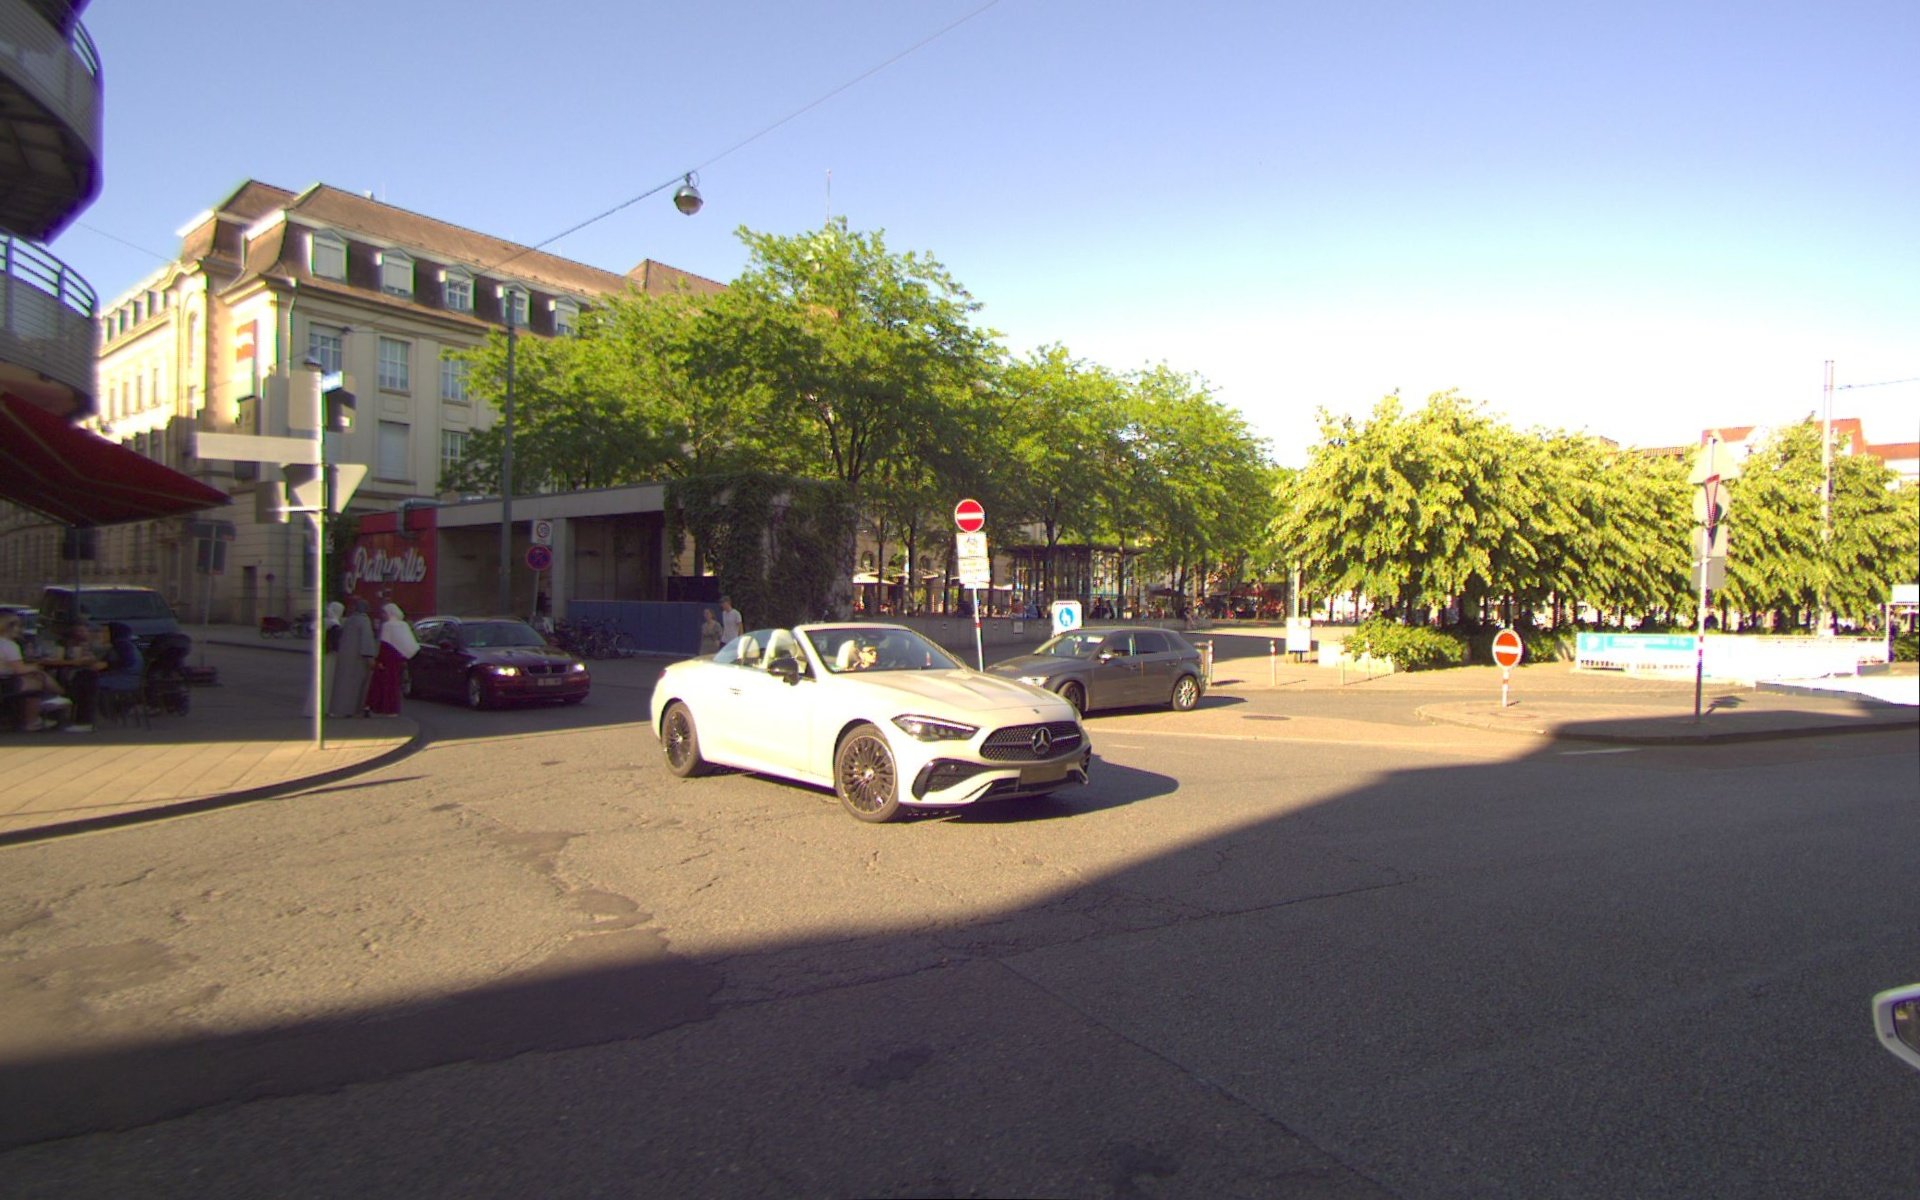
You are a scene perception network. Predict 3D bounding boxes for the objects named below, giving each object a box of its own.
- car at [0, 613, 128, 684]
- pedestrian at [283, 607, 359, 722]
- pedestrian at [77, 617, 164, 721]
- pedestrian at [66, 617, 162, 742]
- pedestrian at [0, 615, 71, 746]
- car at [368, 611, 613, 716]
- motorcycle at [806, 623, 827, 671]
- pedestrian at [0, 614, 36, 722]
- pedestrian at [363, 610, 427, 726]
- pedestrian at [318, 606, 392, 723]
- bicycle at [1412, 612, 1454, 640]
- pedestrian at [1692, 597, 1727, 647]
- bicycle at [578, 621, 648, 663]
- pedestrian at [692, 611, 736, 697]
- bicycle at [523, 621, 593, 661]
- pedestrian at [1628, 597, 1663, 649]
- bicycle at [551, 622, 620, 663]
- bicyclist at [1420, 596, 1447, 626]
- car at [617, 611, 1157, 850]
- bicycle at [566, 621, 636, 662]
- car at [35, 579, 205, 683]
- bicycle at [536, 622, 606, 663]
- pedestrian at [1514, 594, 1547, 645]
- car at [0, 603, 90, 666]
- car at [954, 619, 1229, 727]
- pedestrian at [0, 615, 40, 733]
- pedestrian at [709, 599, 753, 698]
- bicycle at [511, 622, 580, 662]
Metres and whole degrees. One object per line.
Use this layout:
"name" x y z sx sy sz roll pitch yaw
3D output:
"car" -23.156 1.223 25.822 4.117 1.682 1.903 -2 -2 38
"pedestrian" -8.971 0.884 14.120 0.563 1.556 0.700 0 0 21
"pedestrian" -11.347 0.914 13.594 0.563 1.357 0.700 0 0 9
"pedestrian" -9.605 0.878 11.416 0.565 1.357 0.698 0 -1 33
"pedestrian" -10.099 0.838 10.783 0.565 1.357 0.698 0 -1 33
"car" -8.019 1.011 16.973 4.663 1.535 1.913 -2 -2 39
"motorcycle" -3.791 1.214 26.616 0.496 1.224 1.693 0 -1 -7
"pedestrian" -12.273 0.856 12.732 0.565 1.357 0.698 0 -1 33
"pedestrian" -7.768 0.912 13.824 0.532 1.556 0.553 0 0 21
"pedestrian" -8.349 0.871 13.875 0.531 1.556 0.687 0 0 21
"bicycle" 27.146 1.480 57.628 2.660 1.523 0.958 1 0 -34
"pedestrian" 32.192 0.938 43.142 0.949 2.136 0.734 1 0 -6
"bicycle" -9.750 1.171 28.288 0.497 1.146 1.960 0 -1 33
"pedestrian" -4.802 1.043 19.607 0.605 1.634 0.582 0 -1 29
"bicycle" -11.808 1.193 29.563 0.497 1.146 1.960 0 -1 33
"pedestrian" 28.634 0.947 41.969 0.949 2.136 0.734 1 0 -6
"bicycle" -10.764 1.203 28.944 0.497 1.146 1.960 0 -1 33
"bicyclist" 27.160 0.633 57.618 1.198 1.723 0.958 1 0 -33
"car" -0.952 0.873 8.638 1.985 1.441 5.055 1 -2 -42
"bicycle" -10.200 1.163 28.607 0.497 1.146 1.960 0 -1 33
"car" -18.551 0.687 22.123 4.284 2.076 2.027 -1 -2 38
"bicycle" -11.303 1.210 29.238 0.497 1.146 1.960 0 -1 33
"pedestrian" 24.464 0.840 43.059 0.949 2.136 0.734 1 0 -6
"car" -26.736 0.984 28.849 4.117 1.682 1.903 -2 -2 38
"car" 2.232 1.092 16.515 4.491 1.442 1.737 -1 0 -34
"pedestrian" -11.290 0.854 11.717 0.565 1.357 0.698 0 -1 33
"pedestrian" -4.336 0.907 19.055 0.577 1.852 0.557 0 -1 29
"bicycle" -12.324 1.223 29.917 0.497 1.146 1.960 0 -1 33
